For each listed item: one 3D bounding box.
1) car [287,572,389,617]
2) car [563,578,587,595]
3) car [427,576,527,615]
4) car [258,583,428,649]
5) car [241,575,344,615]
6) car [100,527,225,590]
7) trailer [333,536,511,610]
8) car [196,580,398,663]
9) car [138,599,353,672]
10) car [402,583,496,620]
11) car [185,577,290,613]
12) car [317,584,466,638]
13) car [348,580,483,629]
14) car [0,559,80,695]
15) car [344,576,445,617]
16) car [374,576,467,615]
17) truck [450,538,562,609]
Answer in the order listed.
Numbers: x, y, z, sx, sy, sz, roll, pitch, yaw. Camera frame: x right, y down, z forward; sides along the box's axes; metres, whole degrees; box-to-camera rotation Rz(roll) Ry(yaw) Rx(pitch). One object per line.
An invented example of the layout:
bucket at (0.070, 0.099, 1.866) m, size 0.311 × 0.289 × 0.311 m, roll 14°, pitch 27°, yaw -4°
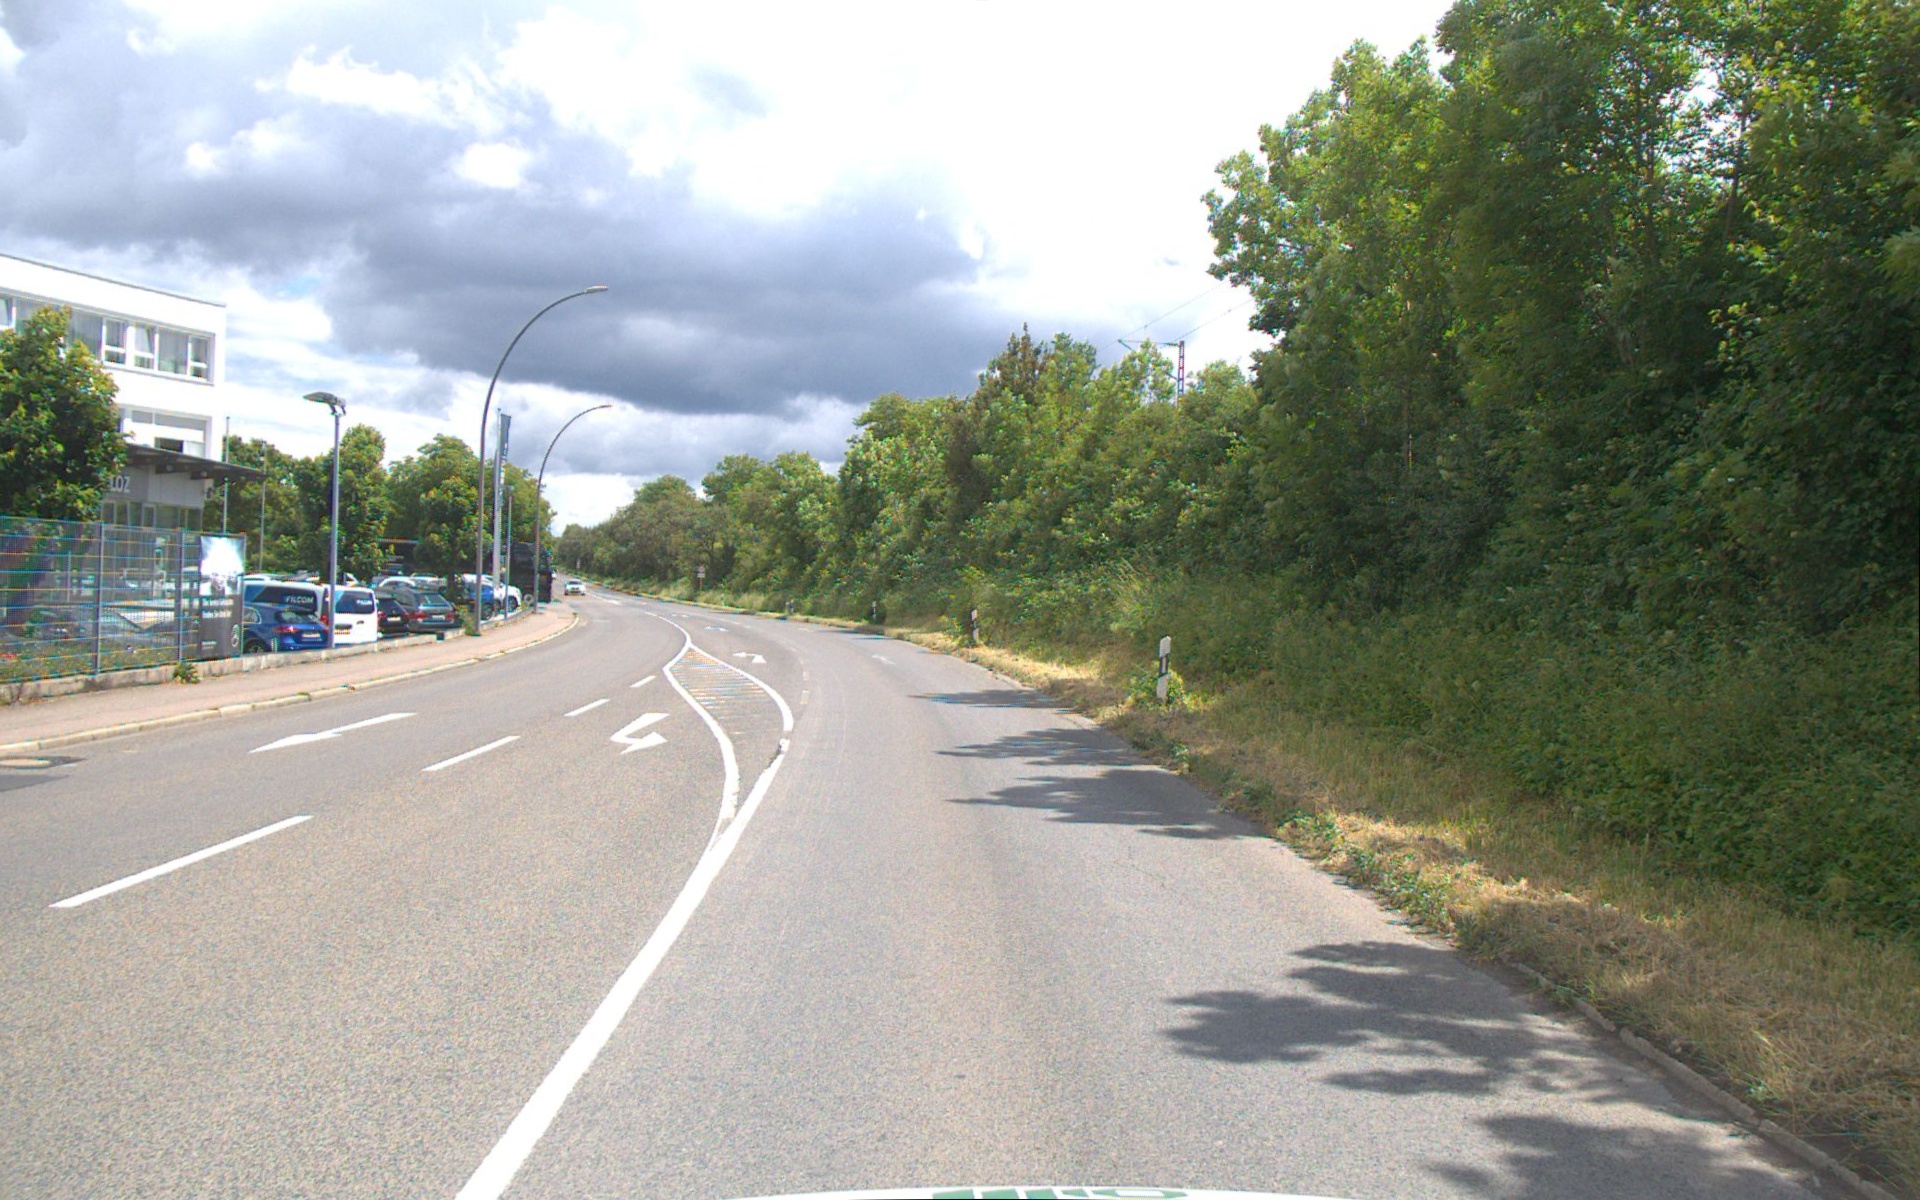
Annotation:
car at (-27.347, -0.221, 72.818) m, size 1.953 × 1.862 × 3.998 m, roll 2°, pitch 0°, yaw 23°
car at (-36.291, -1.289, 155.739) m, size 1.961 × 1.564 × 3.983 m, roll 2°, pitch 0°, yaw -16°
car at (-23.744, -0.222, 81.408) m, size 4.279 × 1.793 × 1.969 m, roll 2°, pitch 0°, yaw -43°
car at (-16.868, 0.425, 45.218) m, size 4.107 × 1.629 × 1.980 m, roll 2°, pitch 0°, yaw 23°
car at (-29.716, -0.207, 73.705) m, size 1.953 × 1.673 × 3.998 m, roll 2°, pitch 0°, yaw 23°
car at (-47.034, -2.370, 97.902) m, size 3.134 × 3.394 × 8.183 m, roll 2°, pitch 0°, yaw 2°
trailer at (-31.332, -1.590, 96.480) m, size 9.611 × 4.165 × 2.800 m, roll 0°, pitch 1°, yaw -28°
car at (-15.246, 0.479, 38.090) m, size 3.894 × 1.730 × 2.173 m, roll 2°, pitch 0°, yaw 23°
car at (-15.354, 0.738, 35.554) m, size 4.107 × 1.373 × 1.936 m, roll 2°, pitch 0°, yaw 23°
car at (-21.825, 0.087, 70.749) m, size 1.592 × 1.501 × 3.998 m, roll 2°, pitch 0°, yaw 23°
car at (-32.263, -0.197, 73.965) m, size 1.953 × 1.480 × 3.998 m, roll 2°, pitch 0°, yaw 23°
car at (-17.286, 0.328, 50.305) m, size 4.107 × 1.505 × 1.795 m, roll 2°, pitch 0°, yaw 23°
car at (-17.786, 0.143, 54.007) m, size 4.107 × 1.426 × 1.659 m, roll 2°, pitch 0°, yaw 23°
car at (-14.190, 0.277, 21.663) m, size 4.105 × 1.730 × 2.174 m, roll 2°, pitch 0°, yaw 1°
car at (-24.666, -0.132, 72.283) m, size 1.953 × 1.659 × 3.998 m, roll 2°, pitch 0°, yaw 23°
car at (-25.032, -0.204, 76.835) m, size 1.953 × 1.682 × 3.999 m, roll 2°, pitch 0°, yaw 23°
truck at (-27.106, -1.581, 98.753) m, size 6.044 × 4.165 × 2.802 m, roll 0°, pitch 1°, yaw -27°
